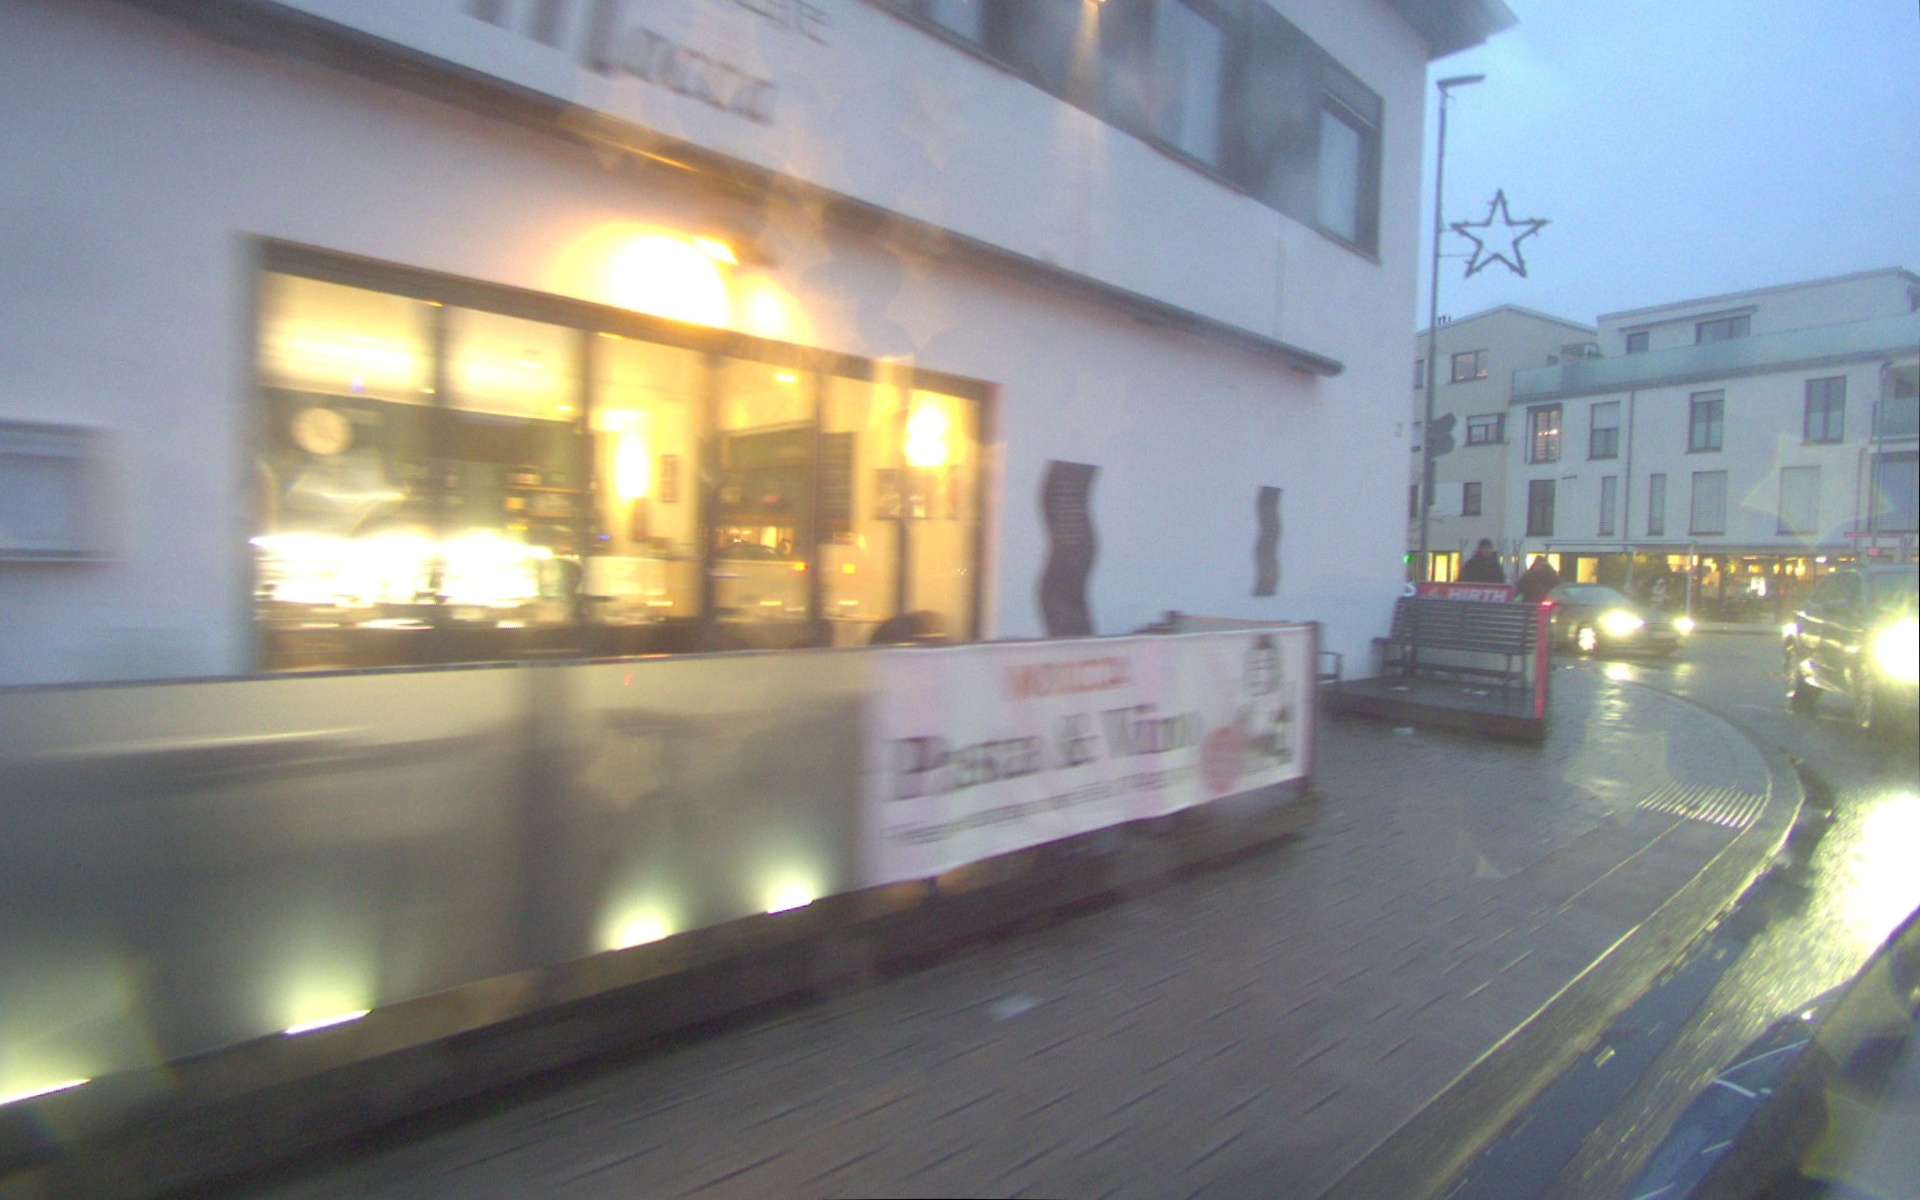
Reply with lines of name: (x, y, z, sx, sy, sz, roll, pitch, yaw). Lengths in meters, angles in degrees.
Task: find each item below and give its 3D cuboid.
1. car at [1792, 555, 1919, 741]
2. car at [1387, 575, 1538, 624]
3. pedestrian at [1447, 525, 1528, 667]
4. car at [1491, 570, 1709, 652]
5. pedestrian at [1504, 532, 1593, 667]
car: (9.980, 0.392, 10.095, 1.943, 1.605, 4.066, 1, 2, 31)
car: (16.330, -0.029, 32.967, 4.246, 1.462, 1.543, 0, 2, 35)
pedestrian: (7.243, -0.063, 13.920, 0.697, 1.889, 0.791, -1, 1, 3)
car: (12.952, 0.155, 20.810, 1.729, 1.498, 4.023, -1, 1, -4)
pedestrian: (8.004, -0.017, 13.799, 0.754, 1.783, 0.791, -1, 1, 3)
